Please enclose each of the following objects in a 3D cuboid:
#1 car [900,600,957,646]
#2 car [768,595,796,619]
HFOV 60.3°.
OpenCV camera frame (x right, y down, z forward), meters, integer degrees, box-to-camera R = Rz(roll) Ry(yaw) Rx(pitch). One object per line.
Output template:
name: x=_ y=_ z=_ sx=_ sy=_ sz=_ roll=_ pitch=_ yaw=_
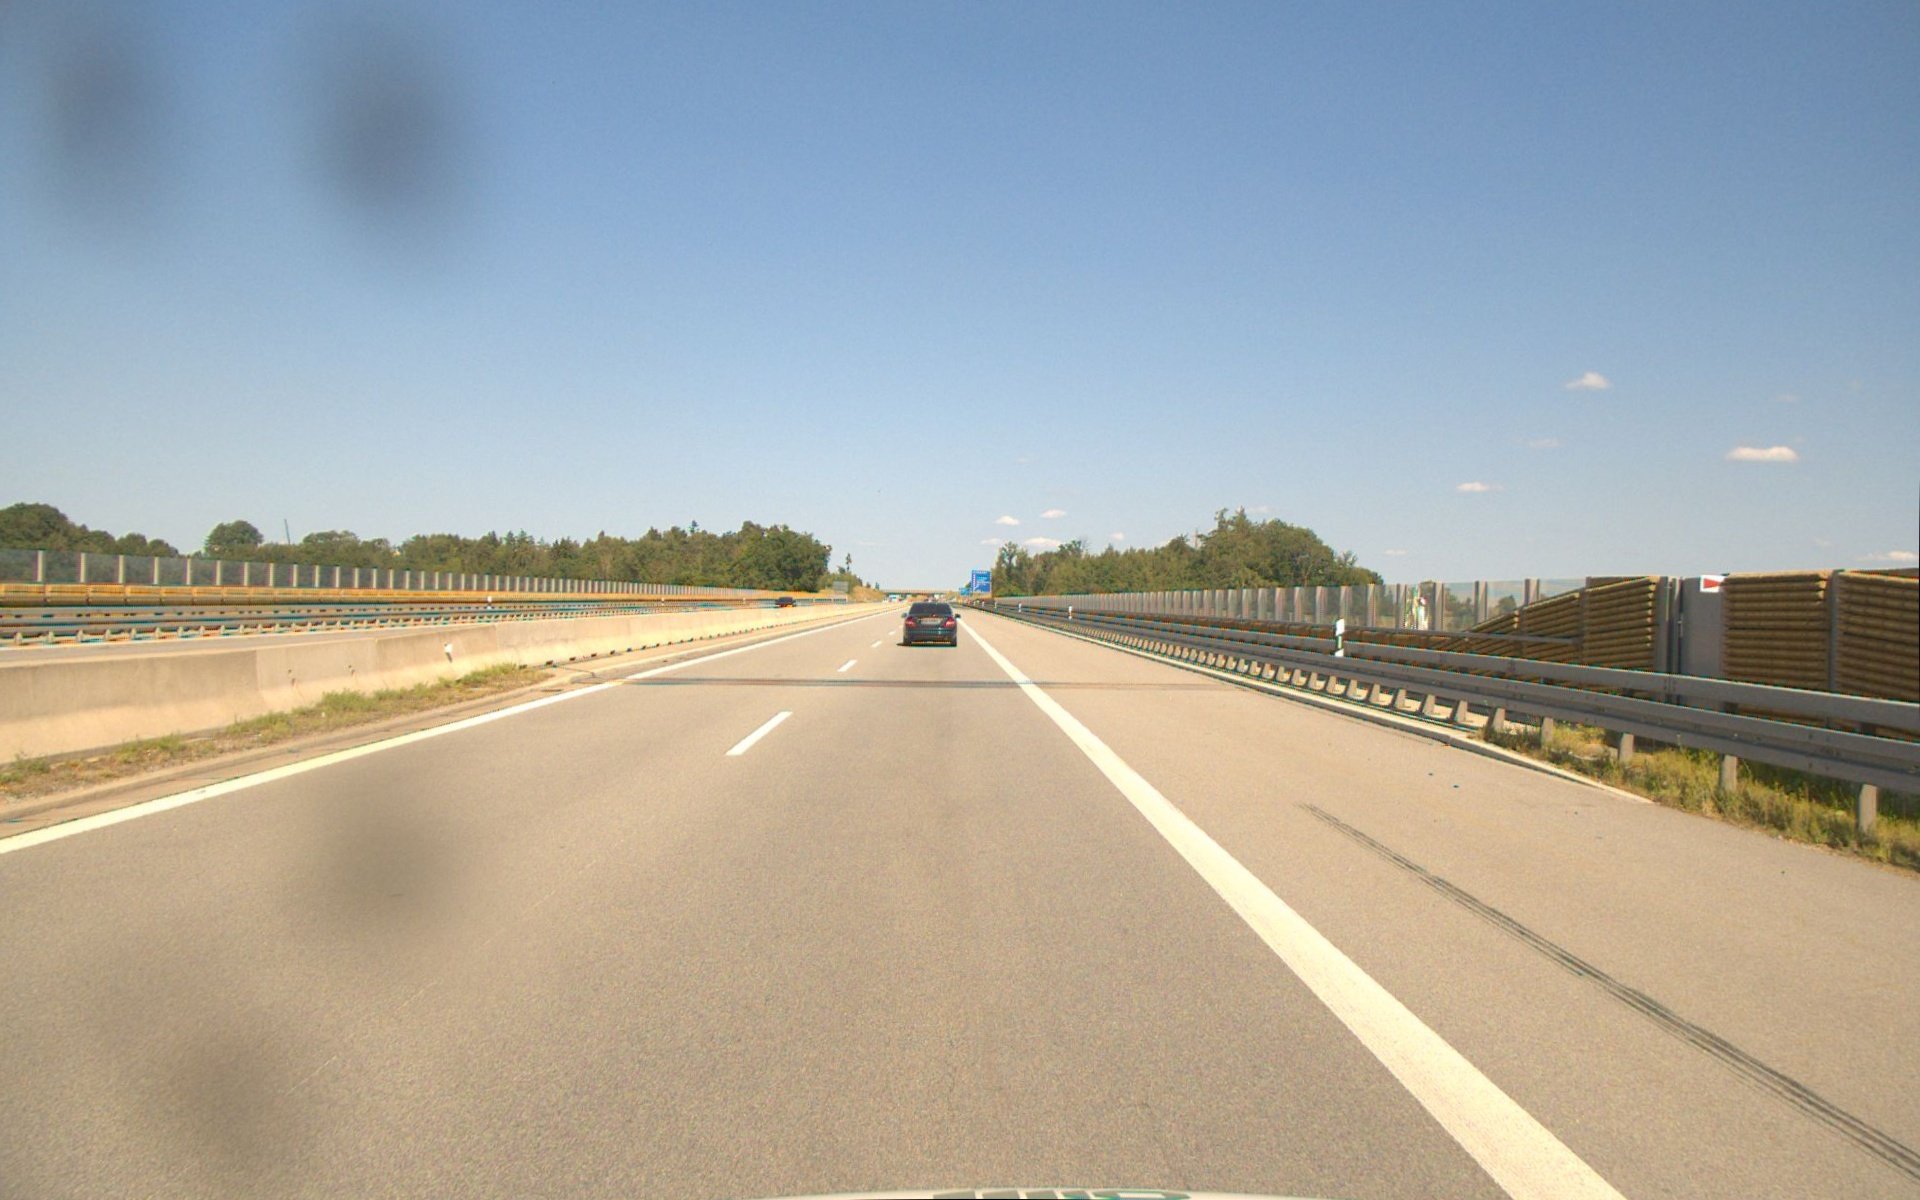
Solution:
car: x=-0.986 y=0.713 z=53.482 sx=1.753 sy=1.398 sz=3.916 roll=1 pitch=0 yaw=0
car: x=-16.102 y=0.636 z=149.565 sx=1.952 sy=2.049 sz=4.761 roll=1 pitch=0 yaw=0
